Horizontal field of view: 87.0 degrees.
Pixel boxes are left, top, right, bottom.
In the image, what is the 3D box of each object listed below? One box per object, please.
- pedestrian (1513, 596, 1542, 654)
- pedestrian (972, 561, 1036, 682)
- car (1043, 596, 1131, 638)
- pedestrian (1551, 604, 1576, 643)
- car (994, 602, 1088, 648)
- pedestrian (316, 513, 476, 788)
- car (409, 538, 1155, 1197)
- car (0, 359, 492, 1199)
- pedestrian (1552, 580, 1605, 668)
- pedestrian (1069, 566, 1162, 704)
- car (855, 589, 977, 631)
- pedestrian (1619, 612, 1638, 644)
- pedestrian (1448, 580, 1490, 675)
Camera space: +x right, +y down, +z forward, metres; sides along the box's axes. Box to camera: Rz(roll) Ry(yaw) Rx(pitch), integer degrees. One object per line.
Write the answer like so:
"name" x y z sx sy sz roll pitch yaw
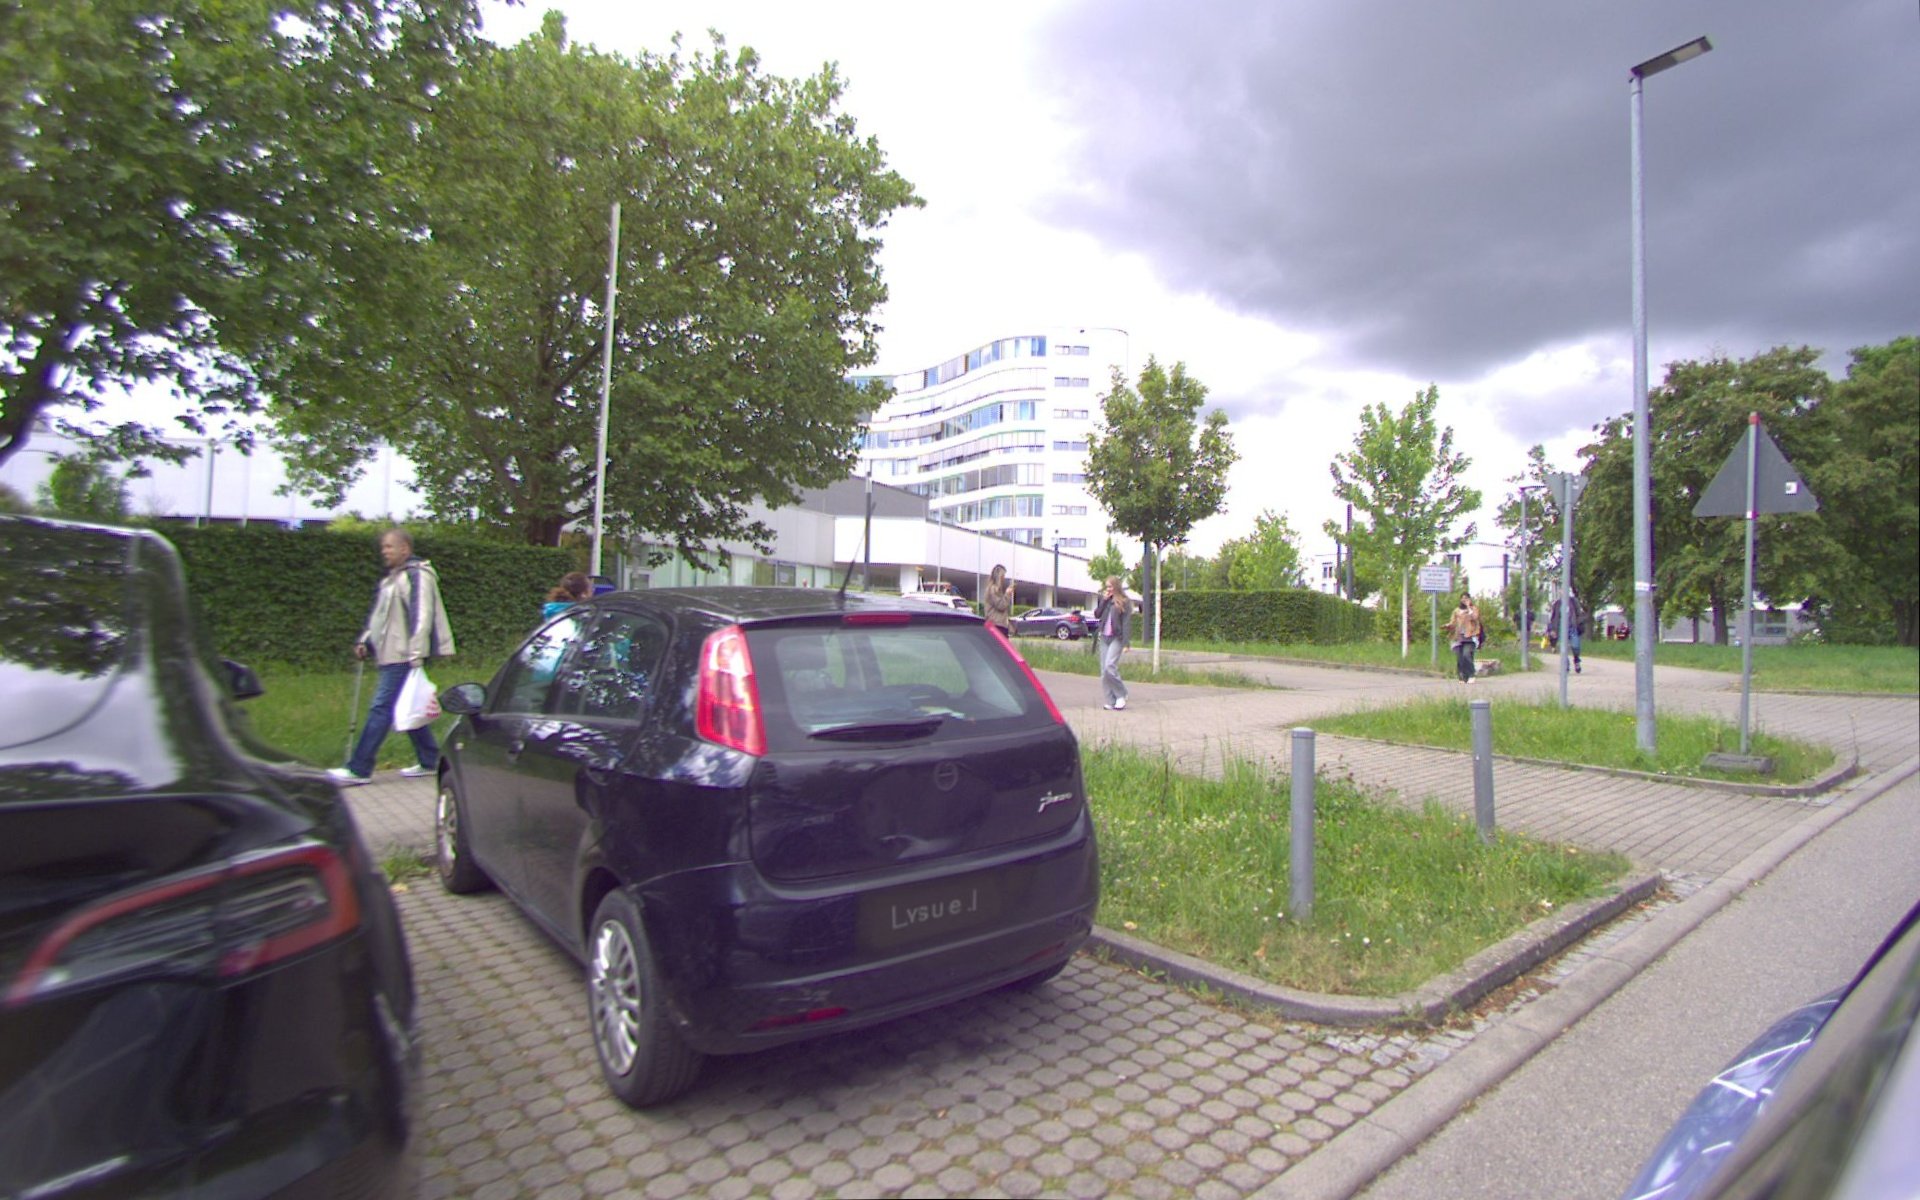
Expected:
"pedestrian" 16.515 0.732 29.469 0.630 1.665 0.599 -1 -1 22
"pedestrian" 0.642 0.314 14.931 0.692 1.733 0.656 1 -2 -33
"car" 6.371 0.850 50.943 3.965 2.039 1.979 -1 -1 30
"pedestrian" 25.619 0.977 42.958 0.654 1.627 0.676 1 -2 -32
"car" 3.749 1.124 46.837 3.958 2.039 1.983 0 -1 25
"pedestrian" -4.068 0.341 7.301 0.862 1.816 0.832 1 -2 -39
"car" -1.109 0.618 4.301 1.615 1.517 3.680 1 0 -37
"car" -2.277 0.576 2.166 1.564 1.594 3.680 -1 0 -37
"pedestrian" 12.563 0.489 20.576 0.753 1.744 0.880 0 -1 21
"pedestrian" 1.929 0.426 12.586 0.913 1.642 0.690 1 -2 -30
"car" -1.571 0.358 35.690 4.083 1.408 1.691 0 -1 30
"pedestrian" 30.607 1.284 46.344 0.670 1.433 0.660 -1 -2 30
"pedestrian" 9.331 0.502 18.577 0.645 1.690 0.890 -1 -1 25
